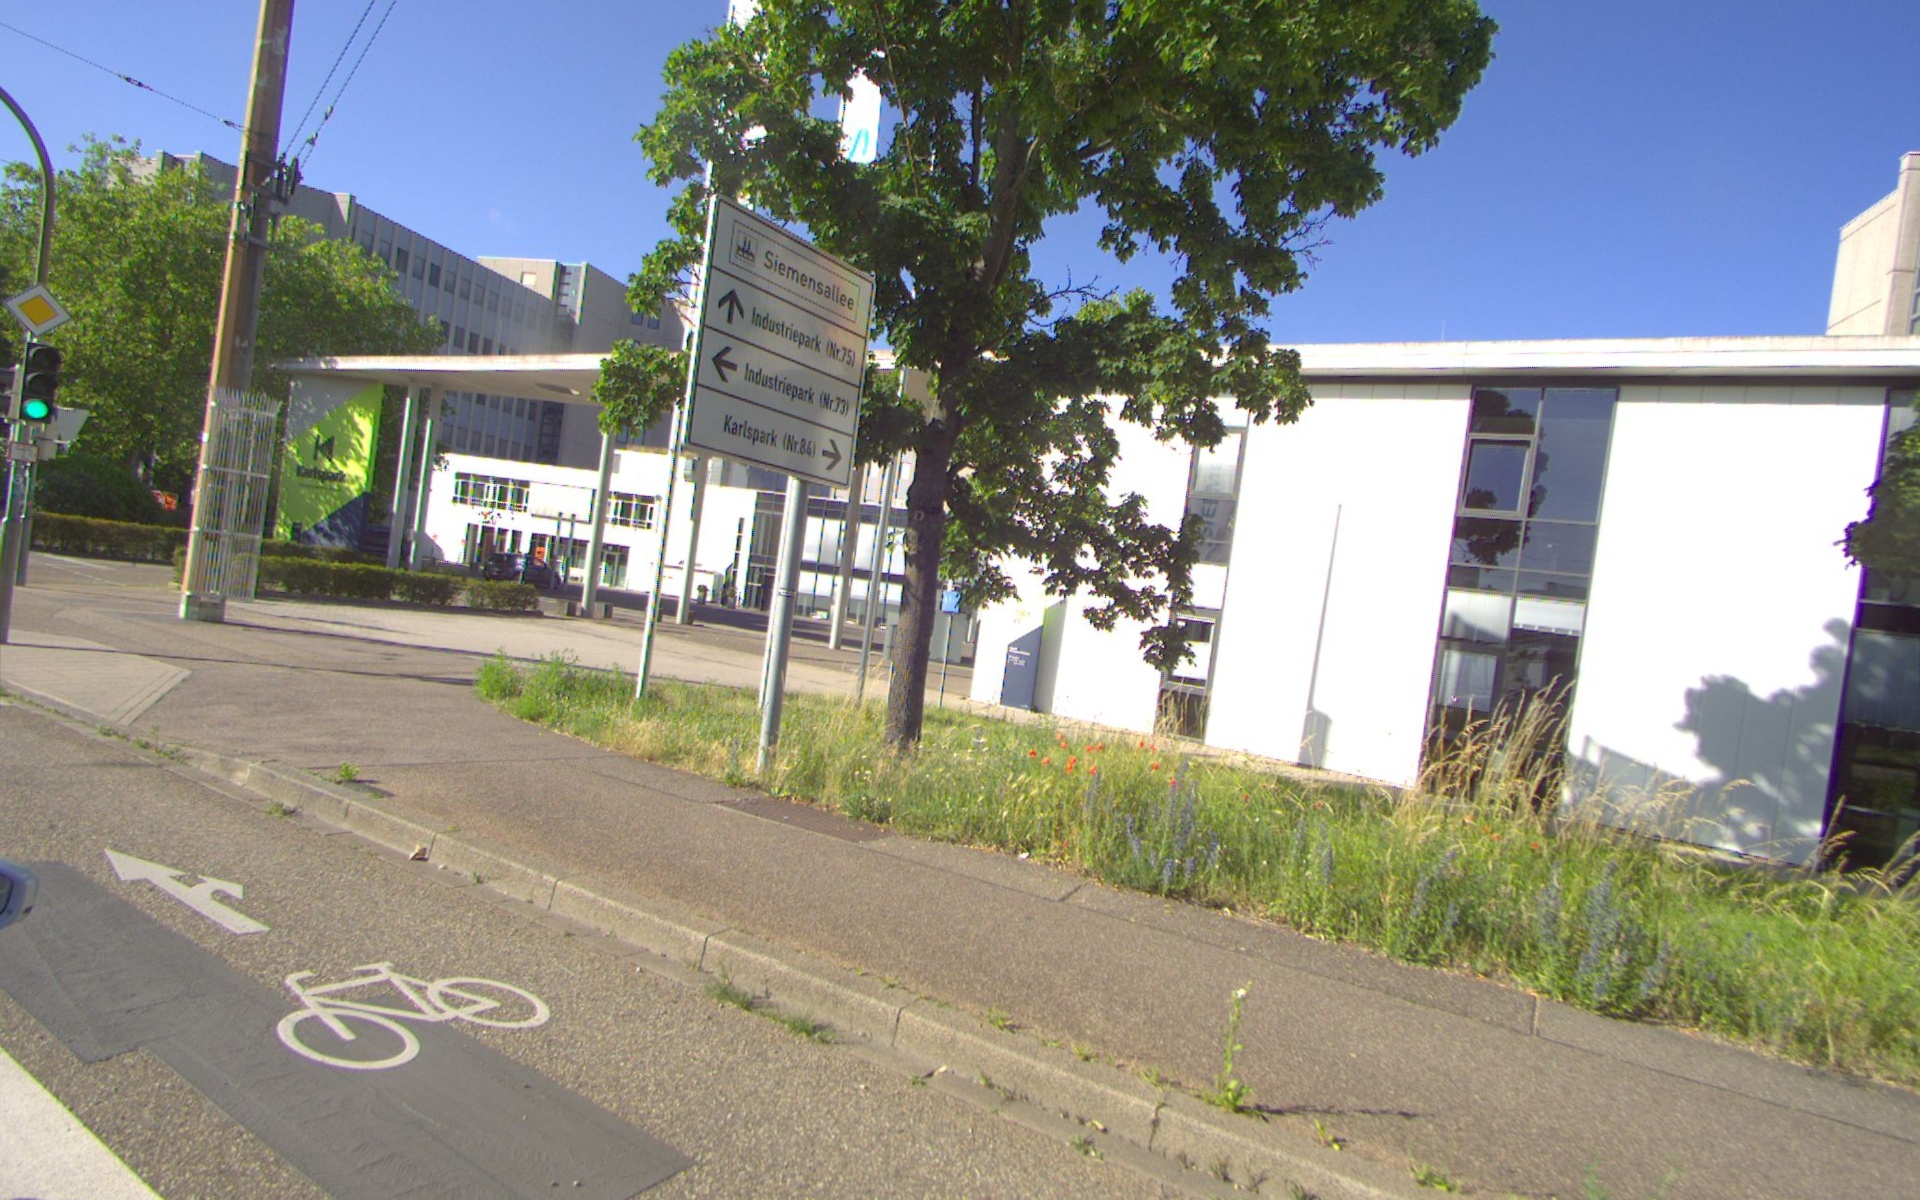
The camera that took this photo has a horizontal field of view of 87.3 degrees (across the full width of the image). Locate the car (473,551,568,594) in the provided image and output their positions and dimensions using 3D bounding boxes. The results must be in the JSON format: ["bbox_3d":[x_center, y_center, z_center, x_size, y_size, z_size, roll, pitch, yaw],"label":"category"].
[{"bbox_3d":[-21.907,-1.355,50.323,1.918,1.597,4.000,7,-1,23],"label":"car"}]

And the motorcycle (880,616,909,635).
[{"bbox_3d":[-4.217,1.633,64.771,1.701,0.959,0.653,7,0,17],"label":"motorcycle"}]

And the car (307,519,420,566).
[{"bbox_3d":[-31.532,-3.005,53.358,2.052,1.778,4.900,7,-1,16],"label":"car"}]
